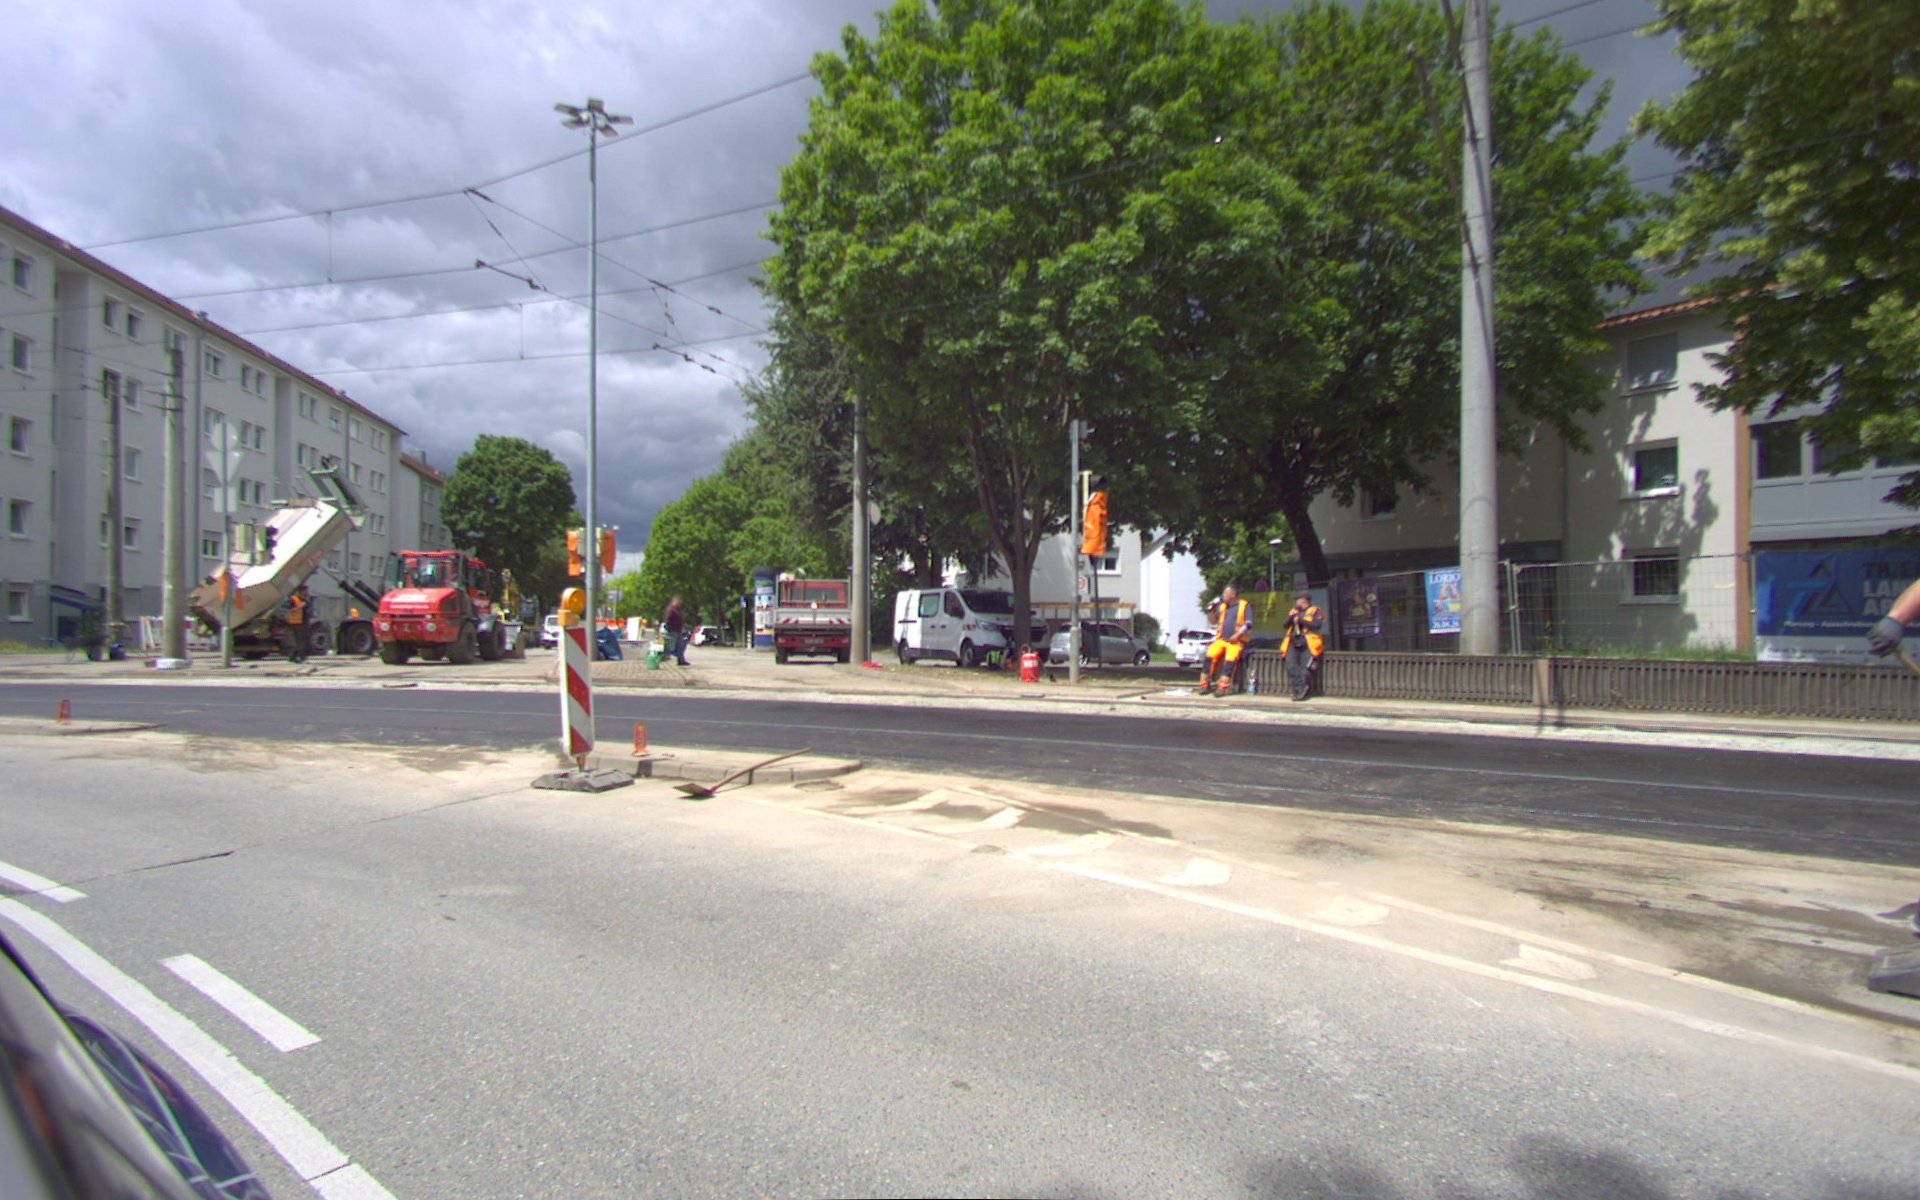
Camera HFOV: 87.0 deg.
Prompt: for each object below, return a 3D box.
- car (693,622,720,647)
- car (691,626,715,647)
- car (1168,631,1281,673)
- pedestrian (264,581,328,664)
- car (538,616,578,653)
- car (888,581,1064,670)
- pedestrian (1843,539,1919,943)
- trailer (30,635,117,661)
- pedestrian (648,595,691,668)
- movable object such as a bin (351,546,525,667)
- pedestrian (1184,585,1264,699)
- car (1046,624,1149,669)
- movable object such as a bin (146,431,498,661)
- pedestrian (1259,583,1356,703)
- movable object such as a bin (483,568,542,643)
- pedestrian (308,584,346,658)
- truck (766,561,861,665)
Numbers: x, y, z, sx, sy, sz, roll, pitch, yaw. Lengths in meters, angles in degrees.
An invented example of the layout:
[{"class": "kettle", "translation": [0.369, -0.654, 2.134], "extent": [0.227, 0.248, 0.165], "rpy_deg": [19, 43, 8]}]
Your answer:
[{"class": "car", "translation": [-17.322, 2.348, 69.005], "extent": [1.735, 1.622, 4.011], "rpy_deg": [1, -2, -15]}, {"class": "car", "translation": [-18.687, 2.645, 73.522], "extent": [1.649, 1.516, 4.011], "rpy_deg": [1, -2, -15]}, {"class": "car", "translation": [9.669, 1.875, 36.975], "extent": [3.810, 1.470, 1.783], "rpy_deg": [1, -2, -30]}, {"class": "pedestrian", "translation": [-15.102, 0.506, 23.043], "extent": [0.957, 1.846, 0.797], "rpy_deg": [0, 0, -3]}, {"class": "car", "translation": [-23.055, 1.991, 58.205], "extent": [1.965, 2.029, 5.927], "rpy_deg": [0, -2, -20]}, {"class": "car", "translation": [0.217, 0.615, 24.330], "extent": [1.965, 1.901, 5.267], "rpy_deg": [0, -2, -27]}, {"class": "pedestrian", "translation": [4.134, 0.534, 3.809], "extent": [0.889, 1.563, 0.764], "rpy_deg": [-2, 0, 3]}, {"class": "trailer", "translation": [-21.606, 1.163, 24.667], "extent": [1.580, 0.621, 0.794], "rpy_deg": [0, -2, 12]}, {"class": "pedestrian", "translation": [-6.880, 0.738, 24.011], "extent": [0.861, 1.672, 0.930], "rpy_deg": [-1, -1, -8]}, {"class": "movable object such as a bin", "translation": [-12.835, 0.163, 25.377], "extent": [2.083, 2.689, 5.596], "rpy_deg": [0, 0, -7]}, {"class": "pedestrian", "translation": [3.735, 0.585, 14.343], "extent": [0.784, 1.552, 0.765], "rpy_deg": [0, -2, -19]}, {"class": "car", "translation": [4.675, 1.574, 34.453], "extent": [3.148, 1.466, 1.569], "rpy_deg": [1, -2, -26]}, {"class": "movable object such as a bin", "translation": [-17.588, -1.161, 29.016], "extent": [2.795, 5.527, 8.991], "rpy_deg": [-1, -2, 15]}, {"class": "pedestrian", "translation": [4.676, 0.569, 13.674], "extent": [0.827, 1.544, 0.910], "rpy_deg": [0, -2, -19]}, {"class": "movable object such as a bin", "translation": [-28.747, 0.454, 65.231], "extent": [2.778, 4.570, 6.228], "rpy_deg": [0, -2, -17]}, {"class": "pedestrian", "translation": [-15.868, 0.523, 25.371], "extent": [0.603, 1.802, 0.583], "rpy_deg": [-2, -1, -9]}, {"class": "truck", "translation": [-4.081, 0.431, 28.274], "extent": [2.381, 2.588, 5.592], "rpy_deg": [0, -2, -8]}]
